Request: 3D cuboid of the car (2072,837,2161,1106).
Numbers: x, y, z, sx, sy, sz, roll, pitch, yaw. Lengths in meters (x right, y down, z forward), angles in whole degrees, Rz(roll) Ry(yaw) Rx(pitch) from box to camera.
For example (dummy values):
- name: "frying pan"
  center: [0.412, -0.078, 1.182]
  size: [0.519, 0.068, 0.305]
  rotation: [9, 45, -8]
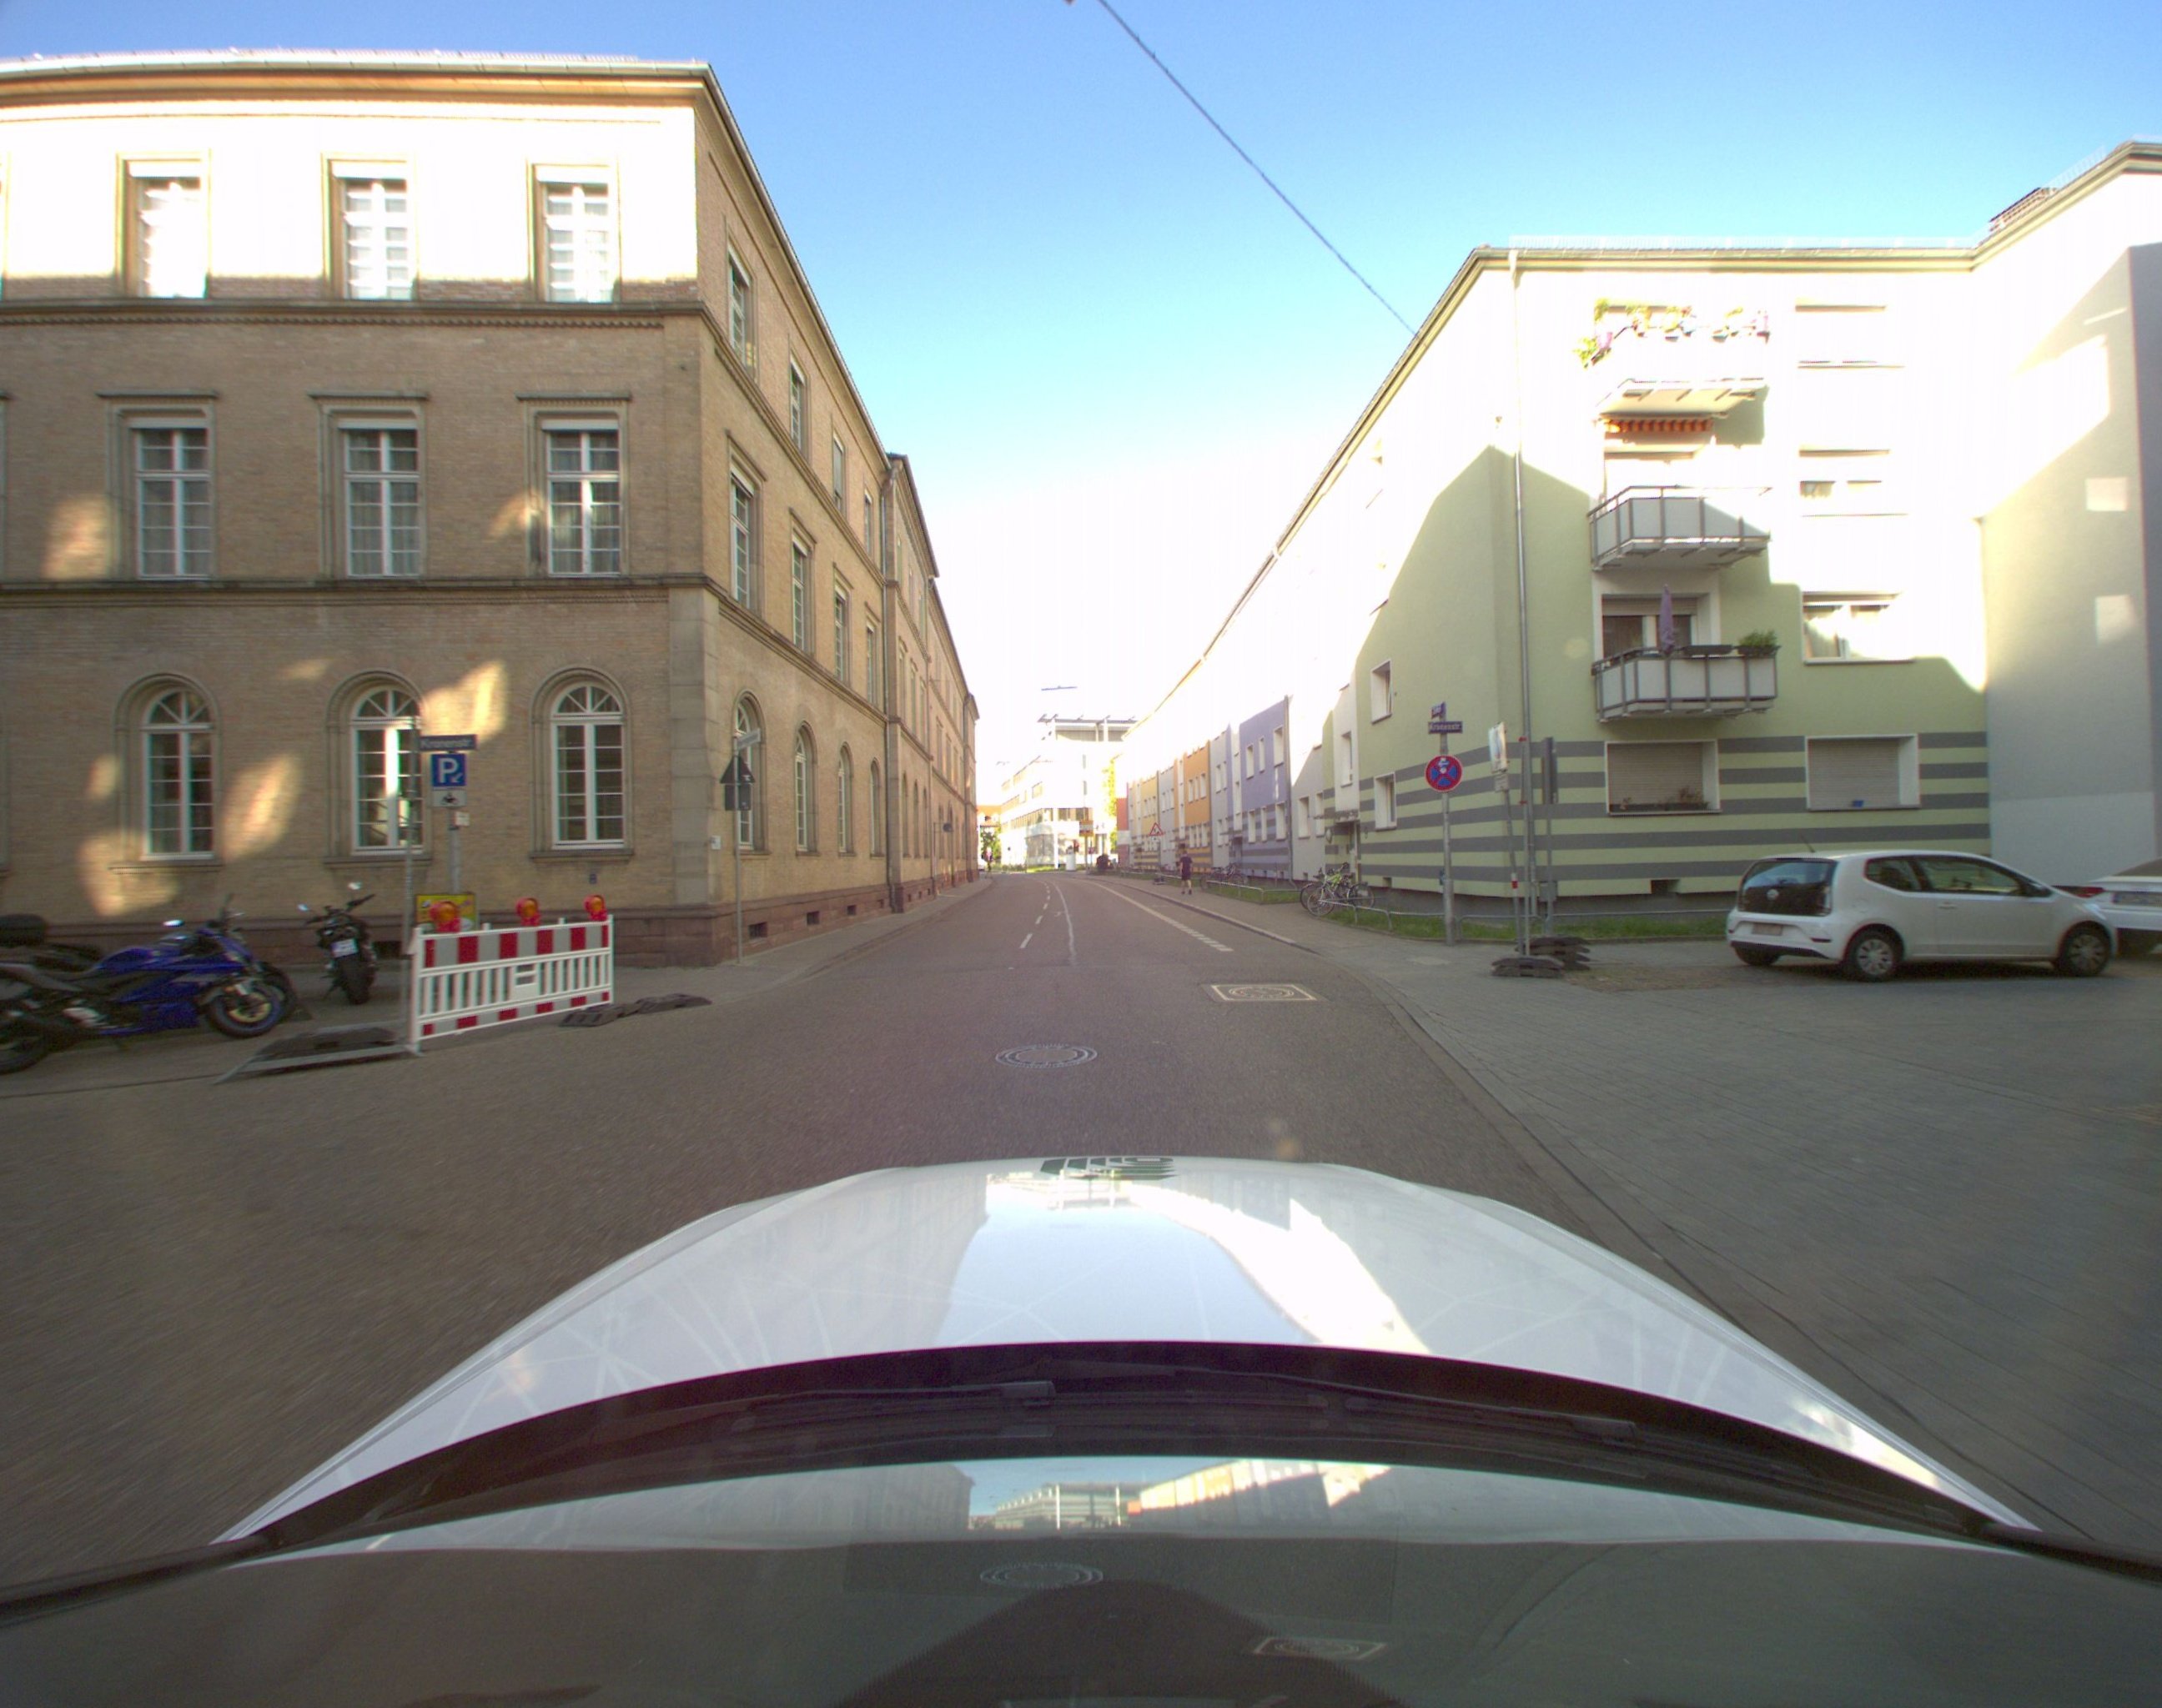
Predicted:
- name: "car"
  center: [7.996, 0.584, 4.017]
  size: [4.068, 1.482, 1.864]
  rotation: [-2, -1, -3]

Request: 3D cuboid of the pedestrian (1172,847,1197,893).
- name: "pedestrian"
  center: [4.141, 0.644, 32.618]
  size: [0.695, 1.760, 1.188]
  rotation: [-4, 0, -2]

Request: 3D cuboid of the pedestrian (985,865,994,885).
- name: "pedestrian"
  center: [-9.323, 2.125, 82.922]
  size: [0.896, 2.014, 0.750]
  rotation: [-2, -1, -10]

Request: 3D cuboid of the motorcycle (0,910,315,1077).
- name: "motorcycle"
  center: [-8.536, 1.198, 7.345]
  size: [0.580, 1.173, 2.298]
  rotation: [2, 3, 40]

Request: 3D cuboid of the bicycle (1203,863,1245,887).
- name: "bicycle"
  center: [6.299, 0.922, 35.957]
  size: [1.744, 0.946, 0.335]
  rotation: [-2, -1, -3]

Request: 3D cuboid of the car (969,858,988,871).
- name: "car"
  center: [-16.682, 1.694, 131.871]
  size: [2.428, 2.112, 5.205]
  rotation: [1, -1, -14]

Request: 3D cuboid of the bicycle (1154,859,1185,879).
- name: "bicycle"
  center: [5.470, 0.935, 50.438]
  size: [1.807, 1.137, 0.551]
  rotation: [-2, -1, -4]

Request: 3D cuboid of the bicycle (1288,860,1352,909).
- name: "bicycle"
  center: [6.282, 0.793, 21.427]
  size: [1.603, 1.141, 0.236]
  rotation: [-5, 0, -11]

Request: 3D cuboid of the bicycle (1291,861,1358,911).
- name: "bicycle"
  center: [6.330, 0.817, 21.156]
  size: [1.641, 1.141, 0.282]
  rotation: [-5, 0, -11]

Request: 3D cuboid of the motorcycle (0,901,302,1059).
- name: "motorcycle"
  center: [-9.425, 1.198, 8.217]
  size: [0.580, 1.293, 2.214]
  rotation: [-2, 0, 45]

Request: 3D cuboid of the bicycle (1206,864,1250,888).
- name: "bicycle"
  center: [6.207, 0.917, 34.441]
  size: [1.744, 0.946, 0.551]
  rotation: [-2, -1, -3]

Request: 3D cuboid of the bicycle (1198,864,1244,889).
- name: "bicycle"
  center: [5.788, 0.937, 33.679]
  size: [1.744, 0.946, 0.551]
  rotation: [-2, -1, -3]

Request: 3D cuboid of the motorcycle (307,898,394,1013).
- name: "motorcycle"
  center: [-8.857, 1.156, 9.840]
  size: [0.664, 1.173, 2.173]
  rotation: [-2, 0, -45]

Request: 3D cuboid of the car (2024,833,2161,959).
- name: "car"
  center: [14.830, 0.440, 10.165]
  size: [4.198, 1.482, 1.708]
  rotation: [-2, -1, -2]

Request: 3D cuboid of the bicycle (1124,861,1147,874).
- name: "bicycle"
  center: [4.320, 1.068, 64.524]
  size: [1.752, 1.004, 0.612]
  rotation: [-3, -1, -8]

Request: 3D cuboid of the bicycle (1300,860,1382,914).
- name: "bicycle"
  center: [6.308, 0.784, 19.768]
  size: [1.744, 1.141, 0.551]
  rotation: [-5, 0, -3]

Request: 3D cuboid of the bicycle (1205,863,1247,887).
- name: "bicycle"
  center: [6.305, 0.899, 35.446]
  size: [1.743, 0.946, 0.325]
  rotation: [-2, -1, -2]

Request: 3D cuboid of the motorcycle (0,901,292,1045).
- name: "motorcycle"
  center: [-10.240, 1.234, 8.997]
  size: [0.580, 1.275, 2.140]
  rotation: [-2, 0, 44]

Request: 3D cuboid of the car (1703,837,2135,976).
- name: "car"
  center: [9.959, 0.588, 9.885]
  size: [3.535, 1.482, 1.708]
  rotation: [-1, -1, -2]
